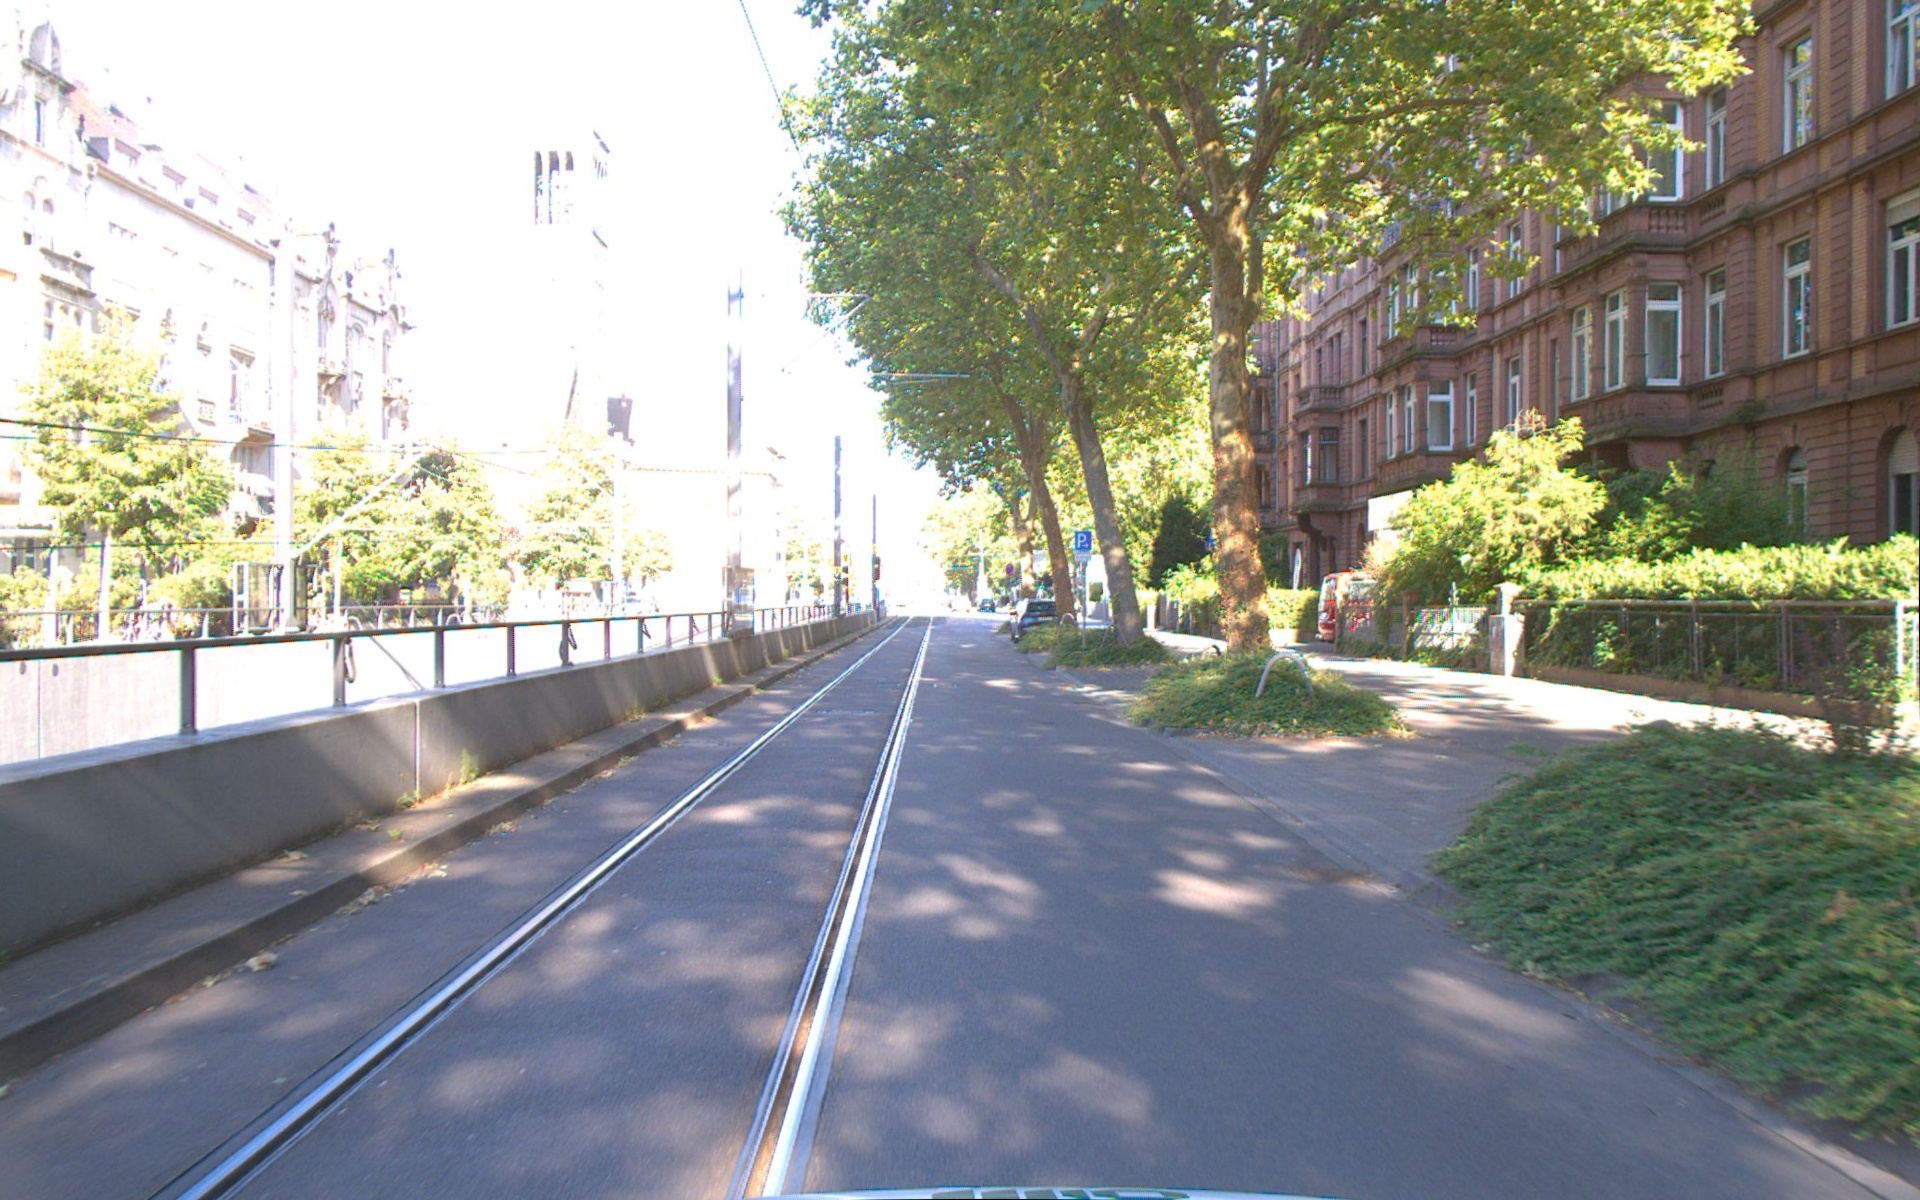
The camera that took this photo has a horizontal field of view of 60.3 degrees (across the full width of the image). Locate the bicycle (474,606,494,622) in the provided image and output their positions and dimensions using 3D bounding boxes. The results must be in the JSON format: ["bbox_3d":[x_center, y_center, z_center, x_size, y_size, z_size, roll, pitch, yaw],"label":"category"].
[{"bbox_3d":[-25.008,0.721,86.904,0.408,0.814,1.888,2,0,2],"label":"bicycle"}]

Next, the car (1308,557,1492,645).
[{"bbox_3d":[11.256,0.019,42.489,4.093,2.049,1.999,-2,0,-3],"label":"car"}]

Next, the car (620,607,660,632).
[{"bbox_3d":[-21.811,1.316,112.767,1.680,1.582,4.510,3,0,1],"label":"car"}]

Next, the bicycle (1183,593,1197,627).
[{"bbox_3d":[8.773,0.381,62.999,0.330,1.271,1.767,2,0,3],"label":"bicycle"}]

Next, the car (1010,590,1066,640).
[{"bbox_3d":[2.667,0.489,57.033,1.584,1.615,4.415,-1,0,-2],"label":"car"}]

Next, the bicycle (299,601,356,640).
[{"bbox_3d":[-21.355,0.687,55.837,1.694,1.302,0.600,0,0,5],"label":"bicycle"}]

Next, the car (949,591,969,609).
[{"bbox_3d":[-0.124,-0.004,154.686,1.710,1.487,3.643,3,0,-2],"label":"car"}]

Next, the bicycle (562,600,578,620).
[{"bbox_3d":[-21.884,0.560,92.771,0.479,1.040,1.879,2,0,-24],"label":"bicycle"}]
